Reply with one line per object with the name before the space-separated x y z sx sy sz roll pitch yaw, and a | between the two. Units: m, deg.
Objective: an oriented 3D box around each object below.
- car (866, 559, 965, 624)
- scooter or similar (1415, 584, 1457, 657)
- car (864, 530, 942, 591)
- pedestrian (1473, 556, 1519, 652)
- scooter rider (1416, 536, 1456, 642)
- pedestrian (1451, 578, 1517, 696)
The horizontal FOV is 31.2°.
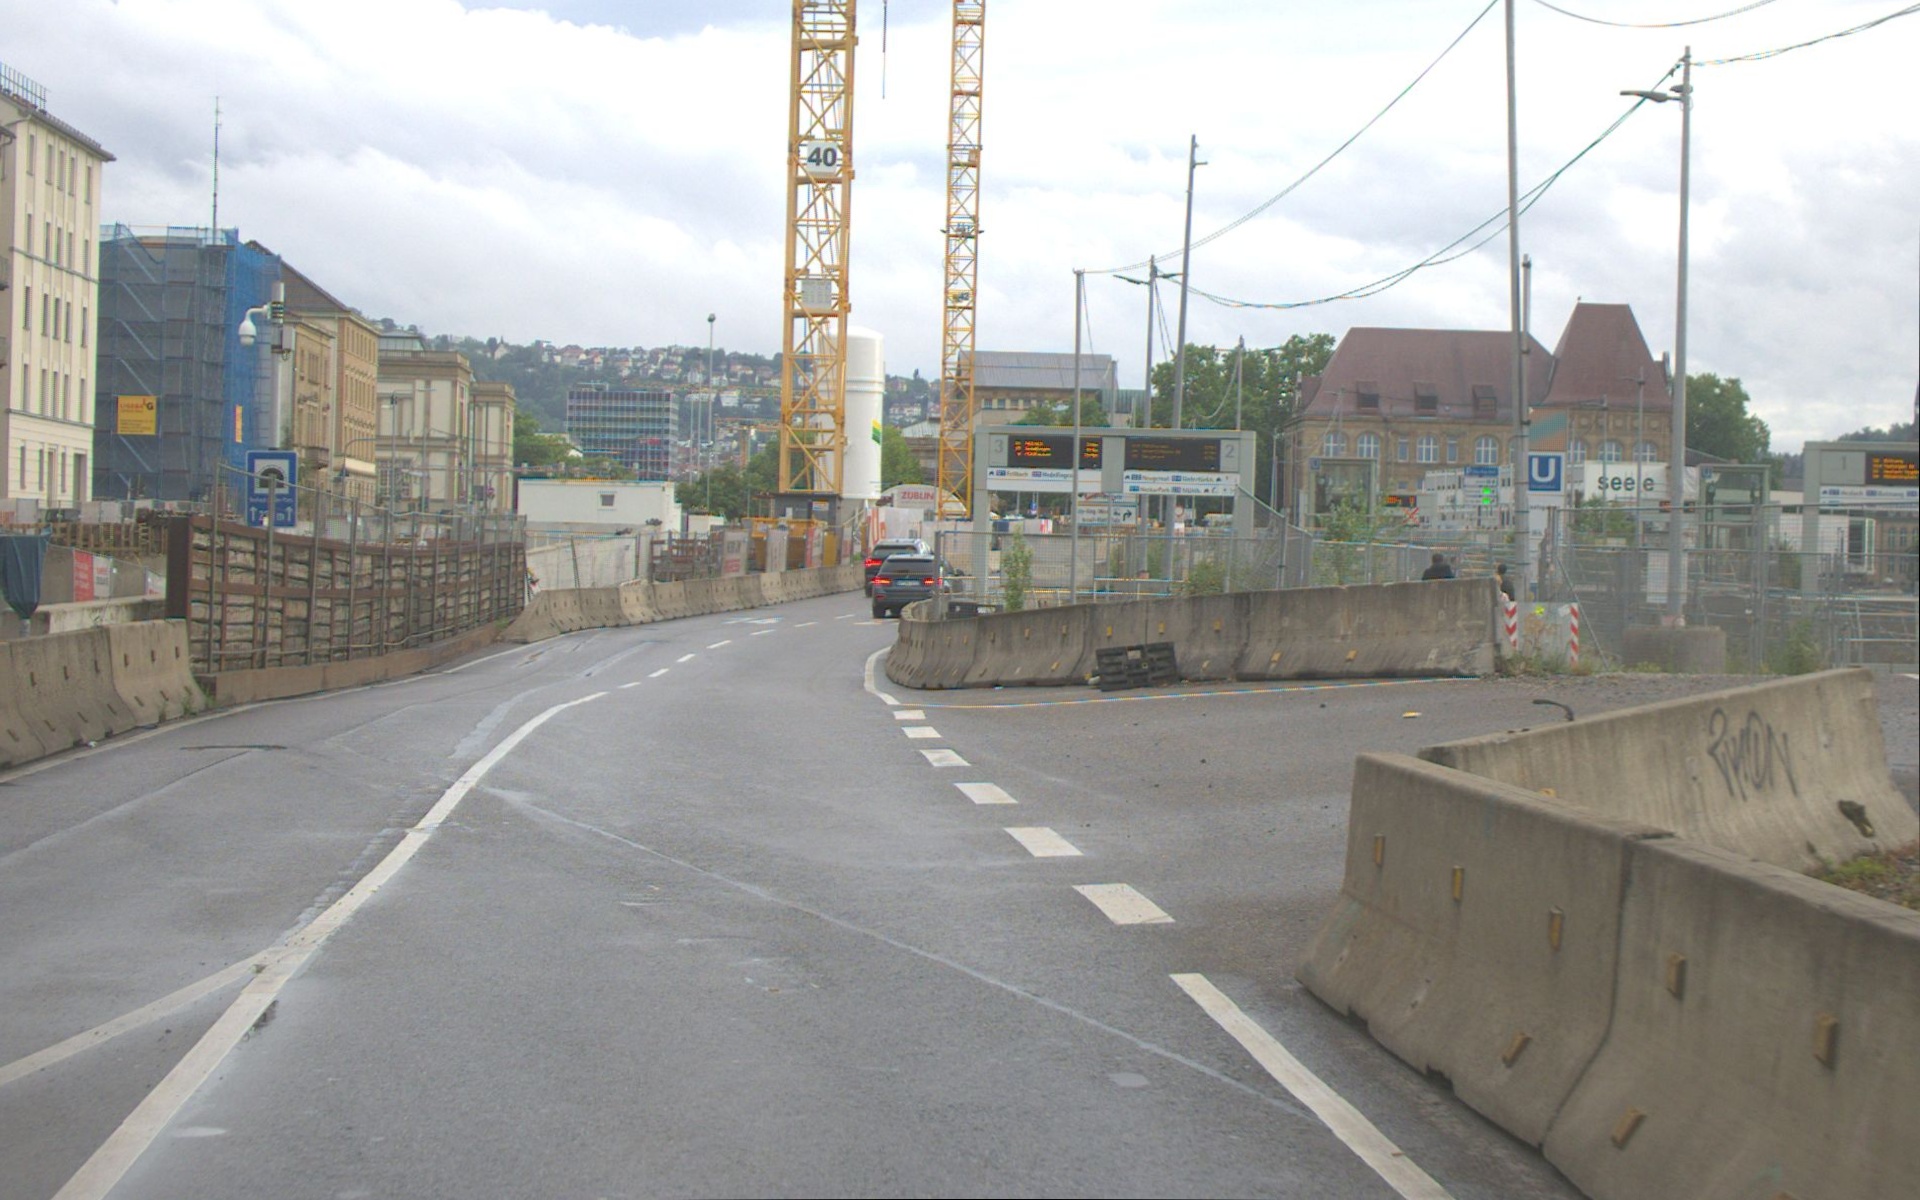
car | -1.003 -0.215 79.691 1.863 1.428 4.655 1 1 5
scooter or similar | 7.953 0.334 57.380 0.491 1.175 1.095 1 1 18
car | -1.626 -1.180 100.037 1.863 1.655 4.656 2 1 4
pedestrian | 10.030 0.074 64.358 0.689 1.772 1.023 1 0 0
scooter rider | 7.939 -0.189 57.300 0.521 1.749 0.699 1 1 18
pedestrian | 8.012 0.561 52.584 0.689 1.772 0.816 1 0 -18
